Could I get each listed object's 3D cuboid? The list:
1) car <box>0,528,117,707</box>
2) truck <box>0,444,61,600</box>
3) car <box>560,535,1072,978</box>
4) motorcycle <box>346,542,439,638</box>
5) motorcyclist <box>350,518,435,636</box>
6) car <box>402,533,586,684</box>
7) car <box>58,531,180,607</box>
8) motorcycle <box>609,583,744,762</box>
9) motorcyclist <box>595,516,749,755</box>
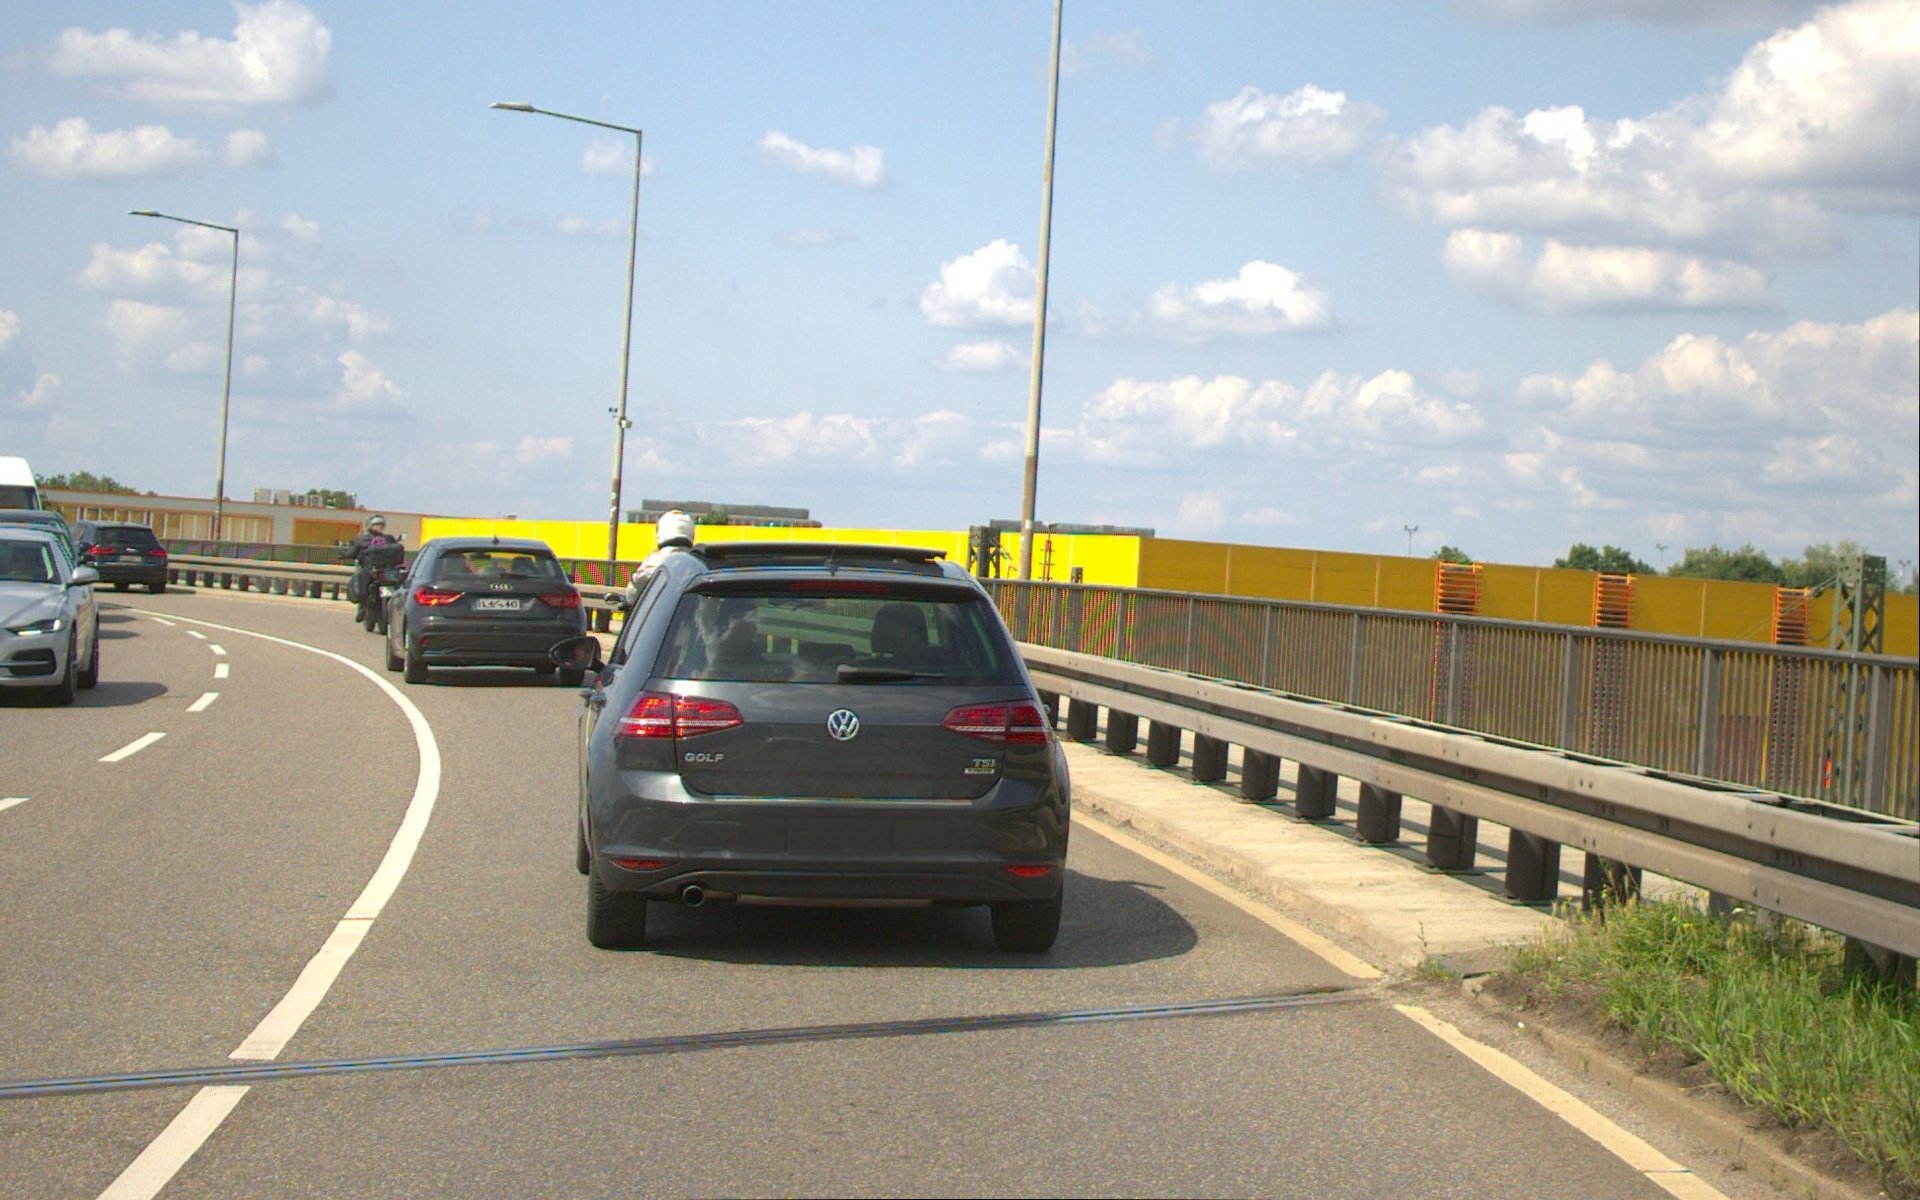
[{"bbox_3d":[-8.235,0.082,29.017,1.793,1.370,4.582,2,1,-9],"label":"car"},{"bbox_3d":[-16.817,-1.351,57.979,1.993,2.499,5.949,1,1,-27],"label":"truck"},{"bbox_3d":[-0.707,0.517,13.677,1.642,1.474,3.873,2,1,-8],"label":"car"},{"bbox_3d":[-7.923,-0.155,47.912,0.887,1.243,2.400,2,1,-18],"label":"motorcycle"},{"bbox_3d":[-7.909,-0.328,47.870,0.965,1.590,1.125,2,1,-17],"label":"motorcyclist"},{"bbox_3d":[-4.642,0.072,34.022,1.681,1.383,3.740,1,0,-9],"label":"car"},{"bbox_3d":[-17.490,-0.649,71.378,1.642,1.474,3.873,2,1,-26],"label":"car"},{"bbox_3d":[-2.009,0.480,24.108,0.789,1.128,2.400,2,1,-7],"label":"motorcycle"},{"bbox_3d":[-2.040,0.237,24.215,0.965,1.615,1.125,2,1,-8],"label":"motorcyclist"}]
